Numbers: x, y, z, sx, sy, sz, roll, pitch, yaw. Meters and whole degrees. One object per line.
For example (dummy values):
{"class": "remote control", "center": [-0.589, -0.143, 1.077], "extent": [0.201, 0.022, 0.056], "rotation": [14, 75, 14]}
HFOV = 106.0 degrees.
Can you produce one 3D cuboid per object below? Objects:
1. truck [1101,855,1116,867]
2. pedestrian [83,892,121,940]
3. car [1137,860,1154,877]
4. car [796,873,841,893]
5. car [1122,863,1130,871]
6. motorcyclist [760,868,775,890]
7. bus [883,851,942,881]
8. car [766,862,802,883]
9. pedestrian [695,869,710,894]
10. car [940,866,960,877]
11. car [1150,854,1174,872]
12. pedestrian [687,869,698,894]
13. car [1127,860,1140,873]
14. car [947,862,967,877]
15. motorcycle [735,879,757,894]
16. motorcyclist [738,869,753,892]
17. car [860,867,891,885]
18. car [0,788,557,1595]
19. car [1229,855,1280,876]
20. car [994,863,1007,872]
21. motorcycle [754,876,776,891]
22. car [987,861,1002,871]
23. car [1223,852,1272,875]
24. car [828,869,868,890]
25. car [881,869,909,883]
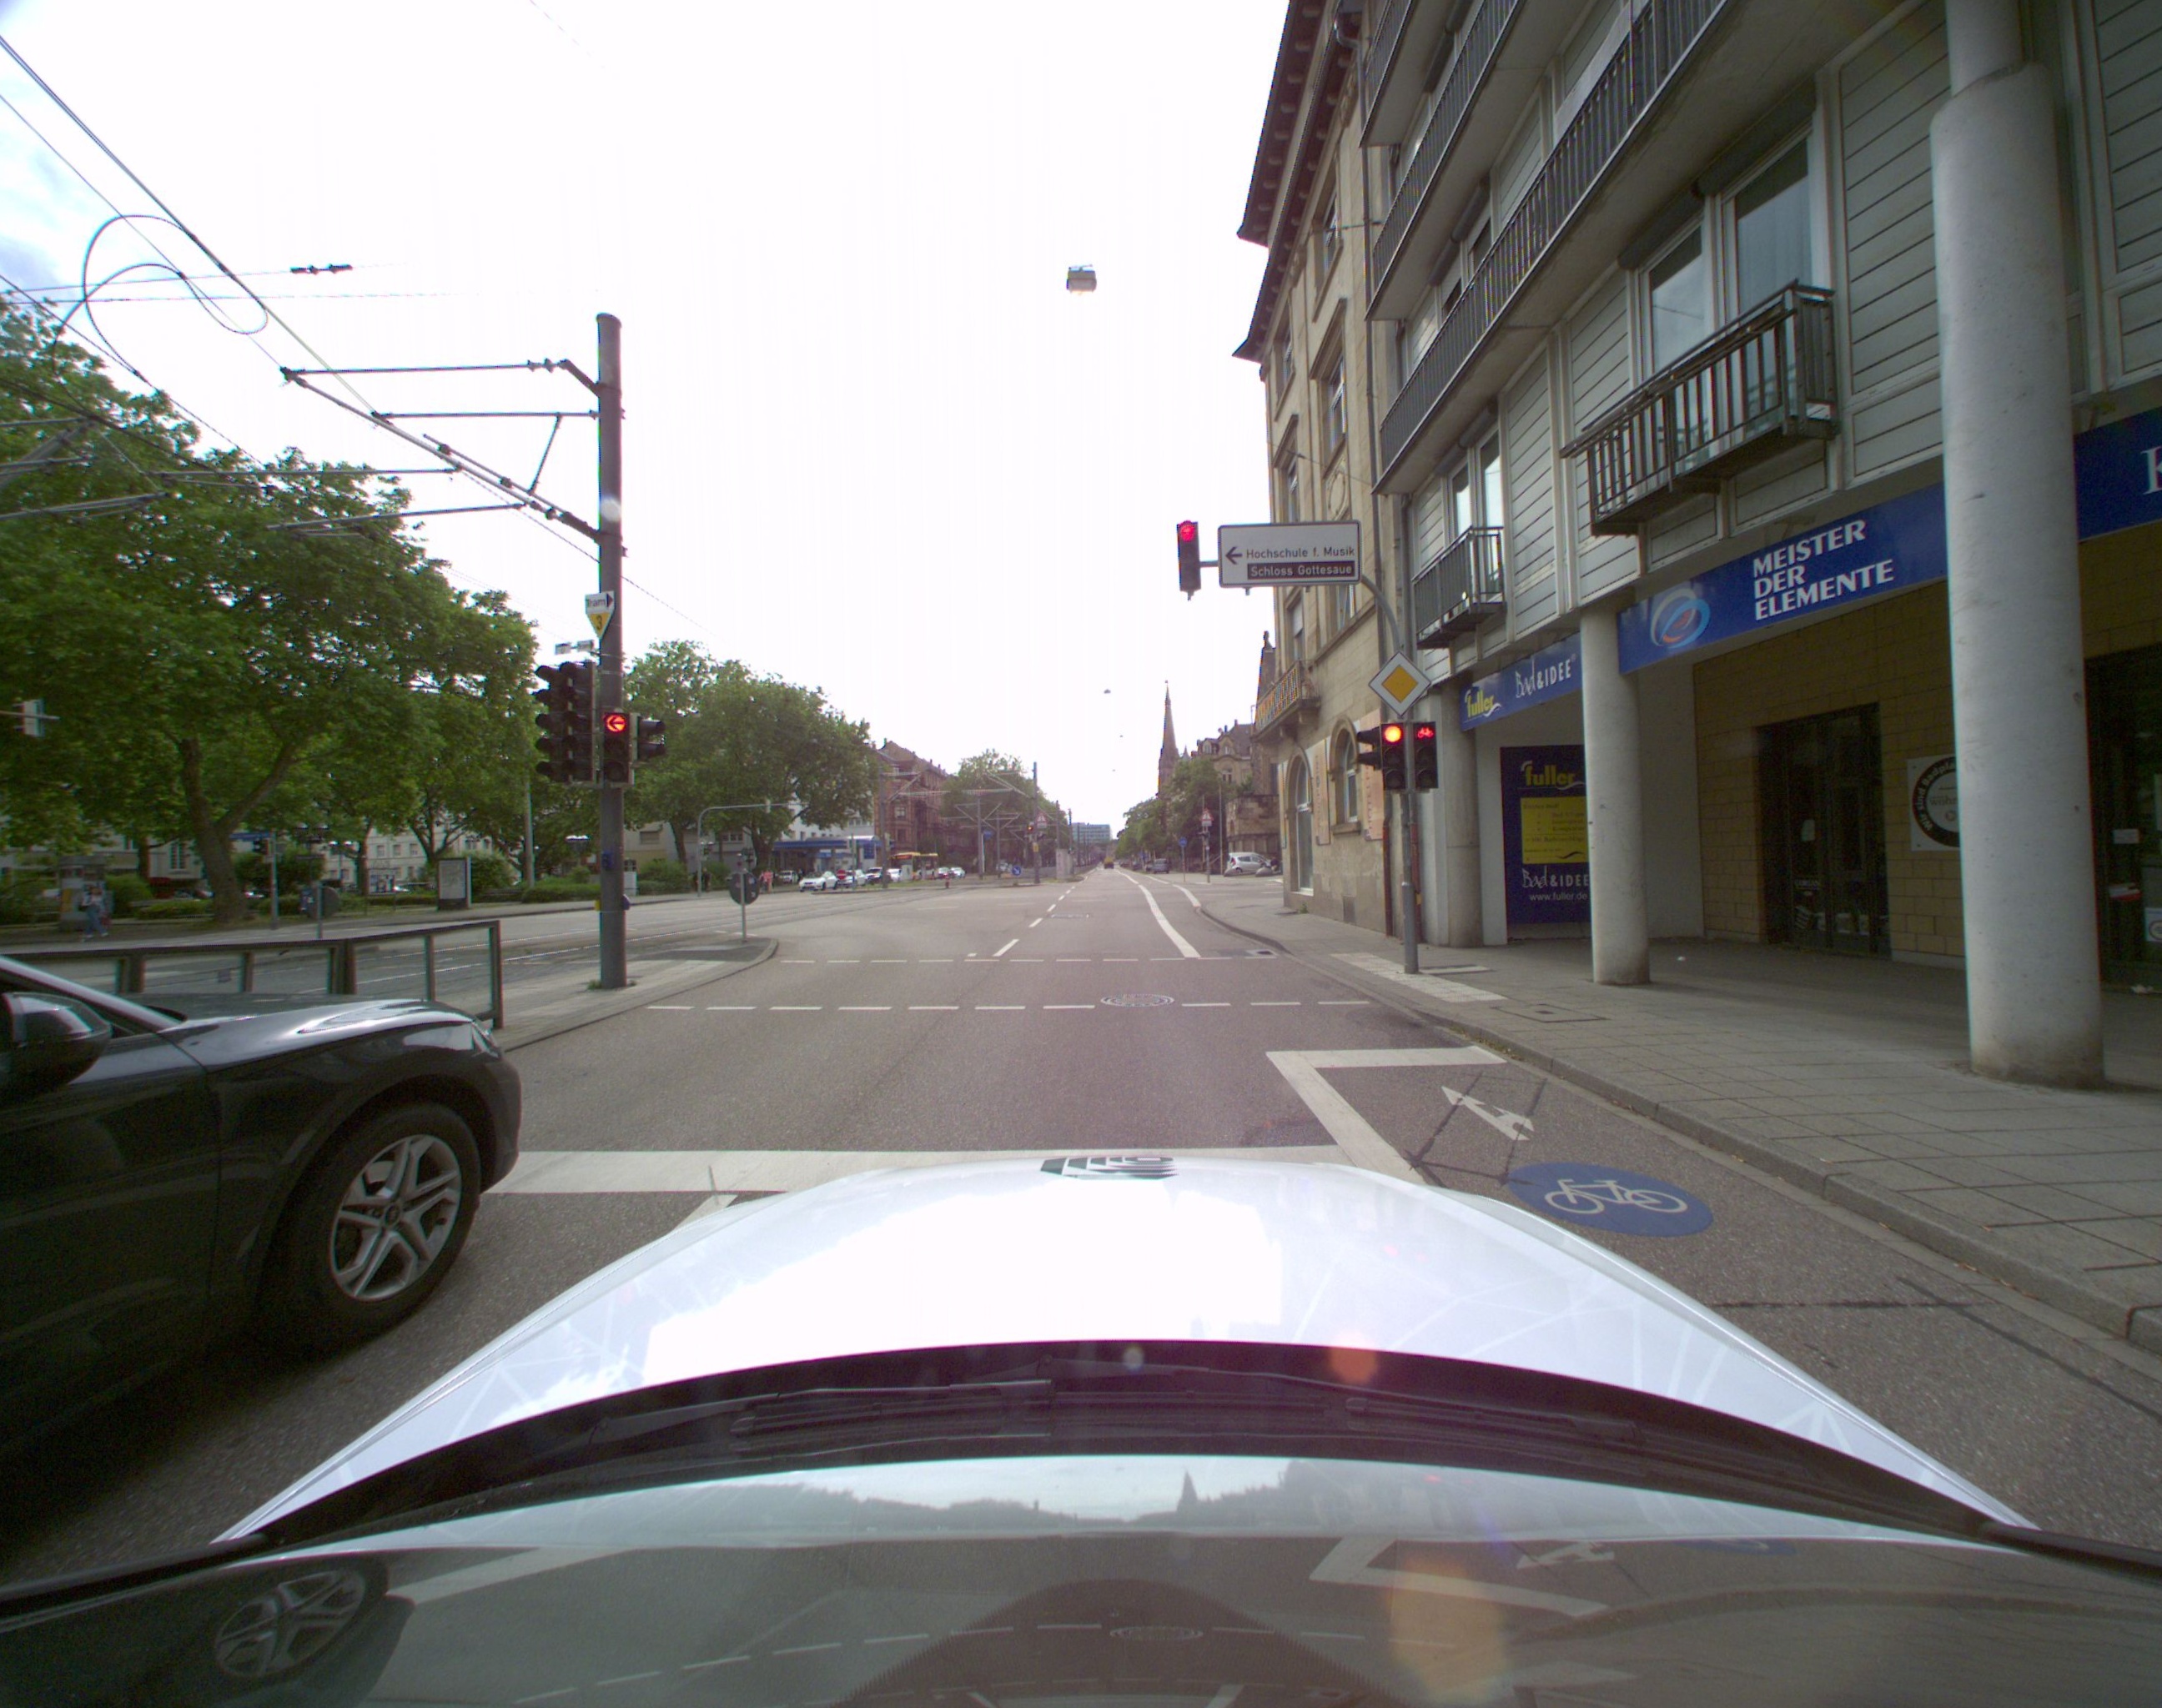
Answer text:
{"class": "truck", "center": [6.746, 1.737, 197.947], "extent": [3.042, 2.769, 9.826], "rotation": [-2, 0, 4]}
{"class": "pedestrian", "center": [-31.944, 2.025, 26.565], "extent": [0.674, 1.510, 0.661], "rotation": [-2, -1, 28]}
{"class": "car", "center": [7.892, 1.708, 99.600], "extent": [1.985, 2.014, 4.004], "rotation": [0, -1, 4]}
{"class": "car", "center": [-19.165, 2.088, 59.565], "extent": [1.739, 1.321, 4.079], "rotation": [0, -1, 4]}
{"class": "car", "center": [11.921, 3.392, 216.783], "extent": [1.986, 2.014, 4.001], "rotation": [0, -1, 2]}
{"class": "motorcyclist", "center": [-21.600, 1.721, 56.105], "extent": [0.617, 1.520, 0.874], "rotation": [-2, -1, 2]}
{"class": "bus", "center": [-18.299, 1.314, 89.716], "extent": [3.217, 3.035, 12.323], "rotation": [0, 0, 4]}
{"class": "car", "center": [-29.769, 1.818, 81.789], "extent": [1.986, 2.014, 4.001], "rotation": [-2, -1, 2]}
{"class": "pedestrian", "center": [-26.958, 1.930, 58.014], "extent": [0.877, 1.713, 0.866], "rotation": [-1, -1, -26]}
{"class": "car", "center": [-16.496, 2.206, 102.800], "extent": [1.649, 1.321, 3.641], "rotation": [0, -1, 3]}
{"class": "car", "center": [8.974, 0.997, 89.948], "extent": [1.979, 1.855, 4.042], "rotation": [-1, -1, 14]}
{"class": "pedestrian", "center": [-27.496, 1.932, 57.661], "extent": [0.692, 1.713, 0.862], "rotation": [-1, -1, -27]}
{"class": "car", "center": [8.692, 2.067, 135.975], "extent": [1.986, 2.014, 4.001], "rotation": [0, -1, 2]}
{"class": "car", "center": [-16.748, 2.077, 110.187], "extent": [1.986, 2.014, 4.001], "rotation": [0, -1, 2]}
{"class": "motorcycle", "center": [-22.698, 2.191, 55.162], "extent": [0.604, 0.928, 1.953], "rotation": [-2, -1, 2]}
{"class": "motorcyclist", "center": [-22.694, 1.817, 55.072], "extent": [0.617, 1.520, 0.874], "rotation": [-2, -1, 2]}
{"class": "car", "center": [-18.331, 1.942, 72.718], "extent": [1.649, 1.478, 3.641], "rotation": [0, -1, 3]}
{"class": "car", "center": [-3.075, 0.687, 1.227], "extent": [1.727, 1.637, 4.228], "rotation": [0, -1, 2]}
{"class": "car", "center": [13.746, 0.912, 64.740], "extent": [3.699, 1.563, 2.001], "rotation": [0, -1, 2]}
{"class": "car", "center": [-14.789, 2.464, 149.899], "extent": [1.986, 1.610, 4.001], "rotation": [0, -1, 2]}
{"class": "motorcycle", "center": [-21.612, 2.009, 55.735], "extent": [0.604, 0.928, 1.953], "rotation": [-2, -1, 2]}
{"class": "car", "center": [-15.048, 2.082, 142.090], "extent": [1.986, 1.610, 4.001], "rotation": [0, -1, 2]}
{"class": "car", "center": [13.925, 0.795, 68.234], "extent": [3.699, 1.855, 2.001], "rotation": [0, -1, 2]}
{"class": "car", "center": [-18.845, 2.069, 66.074], "extent": [1.986, 1.594, 4.001], "rotation": [0, -1, 2]}
{"class": "car", "center": [-18.158, 2.114, 79.639], "extent": [1.649, 1.321, 3.641], "rotation": [0, -1, 3]}
